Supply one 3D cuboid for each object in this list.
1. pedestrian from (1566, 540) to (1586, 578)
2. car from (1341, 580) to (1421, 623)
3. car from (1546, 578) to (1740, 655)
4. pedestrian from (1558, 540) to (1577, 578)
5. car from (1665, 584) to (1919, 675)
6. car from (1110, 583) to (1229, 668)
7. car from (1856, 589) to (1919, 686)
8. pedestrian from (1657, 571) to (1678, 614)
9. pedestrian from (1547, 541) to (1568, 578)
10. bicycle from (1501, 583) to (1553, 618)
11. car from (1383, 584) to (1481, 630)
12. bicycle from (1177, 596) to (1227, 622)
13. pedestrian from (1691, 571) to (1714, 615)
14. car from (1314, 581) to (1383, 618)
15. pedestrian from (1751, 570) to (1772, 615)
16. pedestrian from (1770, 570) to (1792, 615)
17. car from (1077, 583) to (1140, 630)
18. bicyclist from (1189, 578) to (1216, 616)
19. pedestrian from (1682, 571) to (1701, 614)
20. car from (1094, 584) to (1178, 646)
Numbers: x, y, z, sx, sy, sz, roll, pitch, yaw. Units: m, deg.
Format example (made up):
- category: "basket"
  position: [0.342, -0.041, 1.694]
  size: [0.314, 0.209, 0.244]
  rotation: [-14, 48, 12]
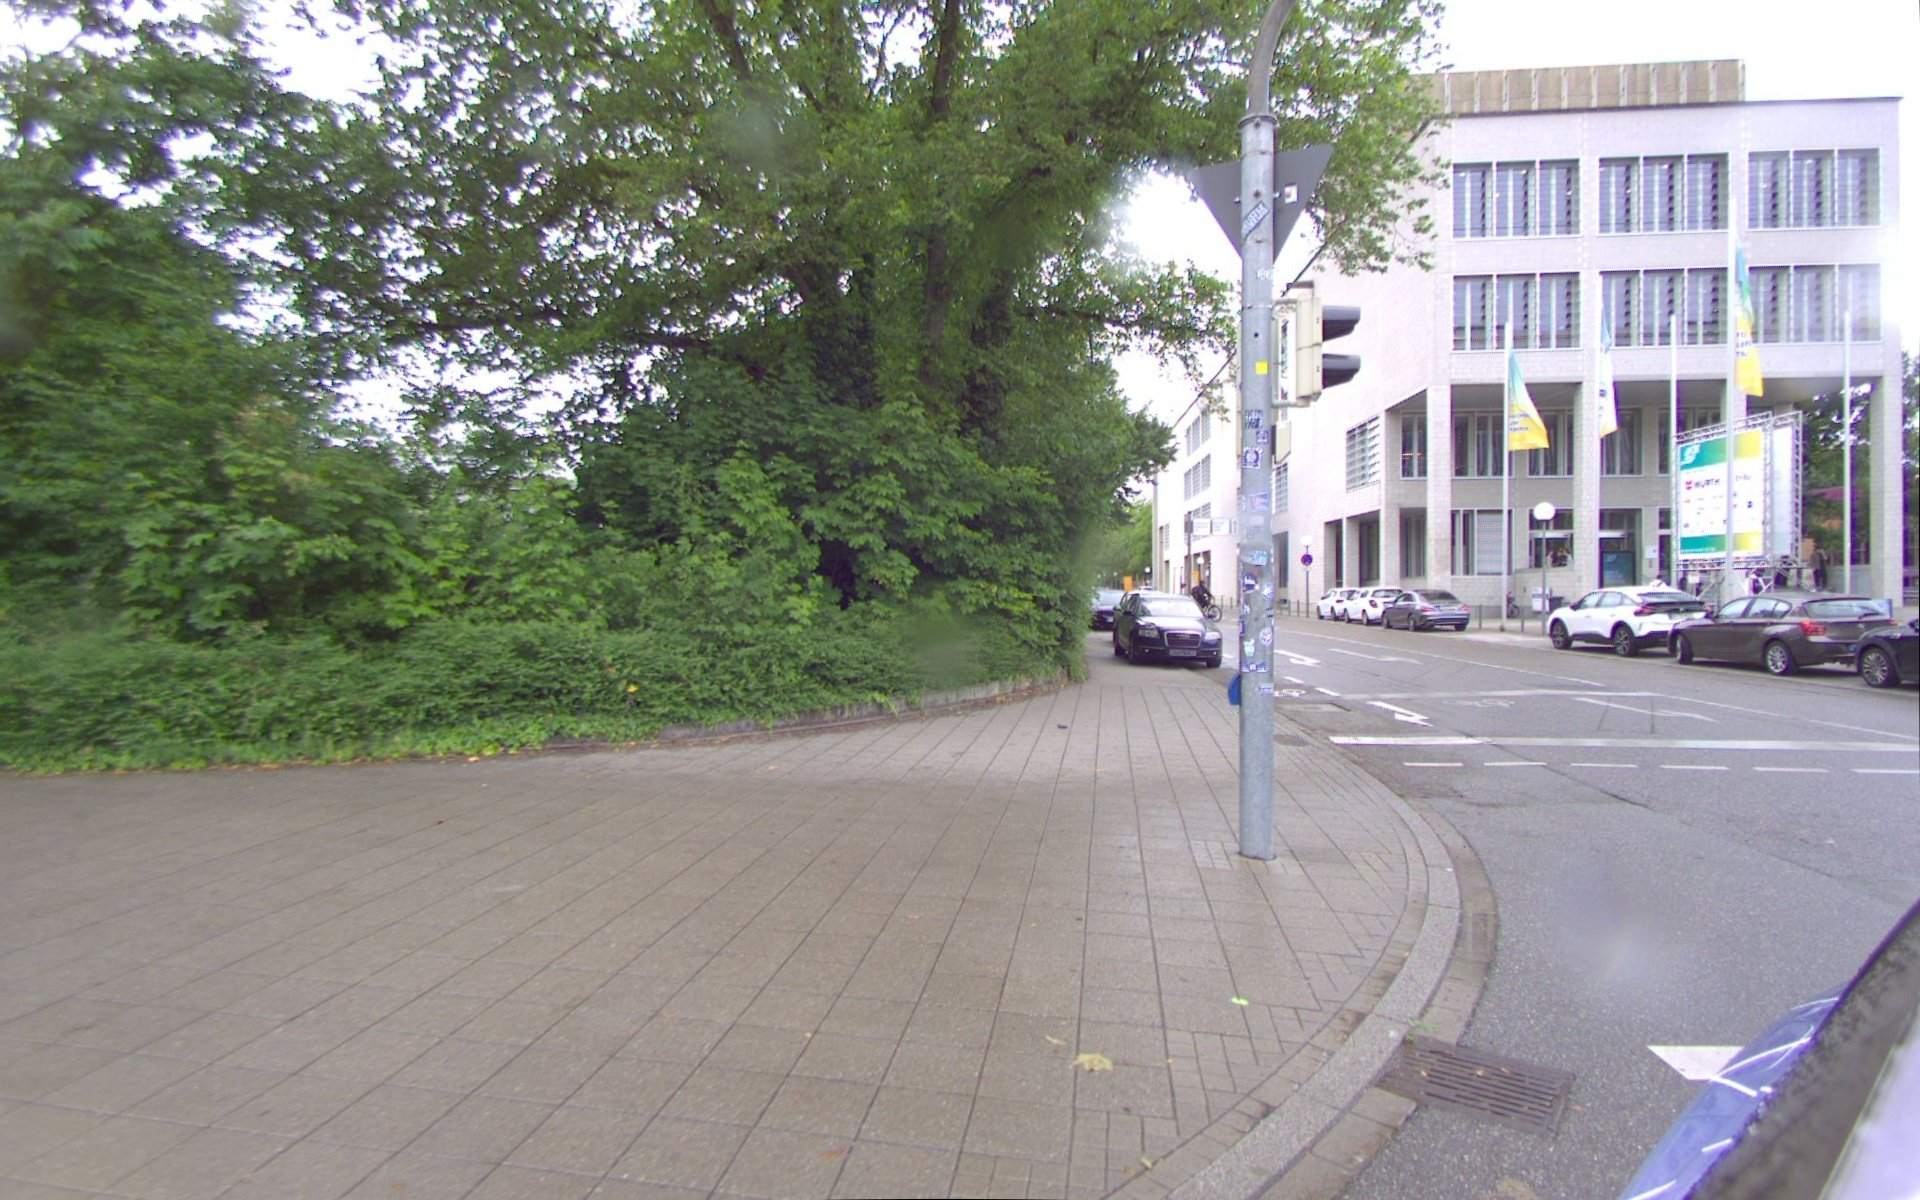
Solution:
- category: "pedestrian"
  position: [25.298, -1.672, 41.550]
  size: [0.534, 1.535, 0.565]
  rotation: [0, 0, -42]
- category: "car"
  position: [16.921, 0.049, 40.916]
  size: [1.742, 1.537, 4.095]
  rotation: [-3, 0, 5]
- category: "car"
  position: [15.648, 0.335, 23.476]
  size: [1.741, 1.537, 4.098]
  rotation: [-3, 0, 2]
- category: "pedestrian"
  position: [24.693, -1.665, 41.125]
  size: [0.534, 1.535, 0.565]
  rotation: [0, 0, -44]
- category: "car"
  position: [15.346, 0.475, 18.739]
  size: [1.741, 1.416, 4.232]
  rotation: [-3, 0, 4]
- category: "car"
  position: [4.318, 0.456, 21.476]
  size: [1.740, 1.536, 4.100]
  rotation: [0, 2, 1]
- category: "car"
  position: [14.916, 0.538, 13.957]
  size: [1.742, 1.395, 4.010]
  rotation: [-3, 0, 6]
- category: "pedestrian"
  position: [25.288, -0.262, 36.191]
  size: [0.538, 1.535, 0.561]
  rotation: [0, 0, 27]
- category: "pedestrian"
  position: [24.960, -1.677, 42.254]
  size: [0.533, 1.535, 0.567]
  rotation: [0, 0, -34]
- category: "bicycle"
  position: [22.770, -0.001, 40.688]
  size: [0.909, 1.346, 2.960]
  rotation: [0, 0, 11]
- category: "car"
  position: [16.431, 0.215, 35.438]
  size: [1.742, 1.420, 4.095]
  rotation: [-3, 0, 5]
- category: "bicycle"
  position: [10.561, 0.385, 44.272]
  size: [1.989, 1.111, 0.791]
  rotation: [0, 0, 41]
- category: "pedestrian"
  position: [26.112, -0.261, 35.593]
  size: [0.538, 1.535, 0.561]
  rotation: [0, 0, 27]
- category: "car"
  position: [17.463, -0.030, 45.707]
  size: [1.742, 1.537, 4.095]
  rotation: [-3, 0, 5]
- category: "pedestrian"
  position: [27.450, -0.259, 34.655]
  size: [0.465, 1.535, 0.561]
  rotation: [0, 0, 27]
- category: "pedestrian"
  position: [27.949, -0.260, 34.457]
  size: [0.465, 1.535, 0.561]
  rotation: [0, 0, 27]
- category: "car"
  position: [5.316, 0.191, 36.648]
  size: [1.740, 1.536, 4.100]
  rotation: [0, 2, 1]
- category: "bicyclist"
  position: [10.609, -0.122, 44.225]
  size: [0.887, 1.644, 0.791]
  rotation: [0, 0, 41]
- category: "pedestrian"
  position: [26.490, -0.273, 36.674]
  size: [0.465, 1.535, 0.561]
  rotation: [0, 0, 27]
- category: "car"
  position: [4.916, 0.367, 28.753]
  size: [1.740, 1.536, 4.100]
  rotation: [0, 2, 1]
